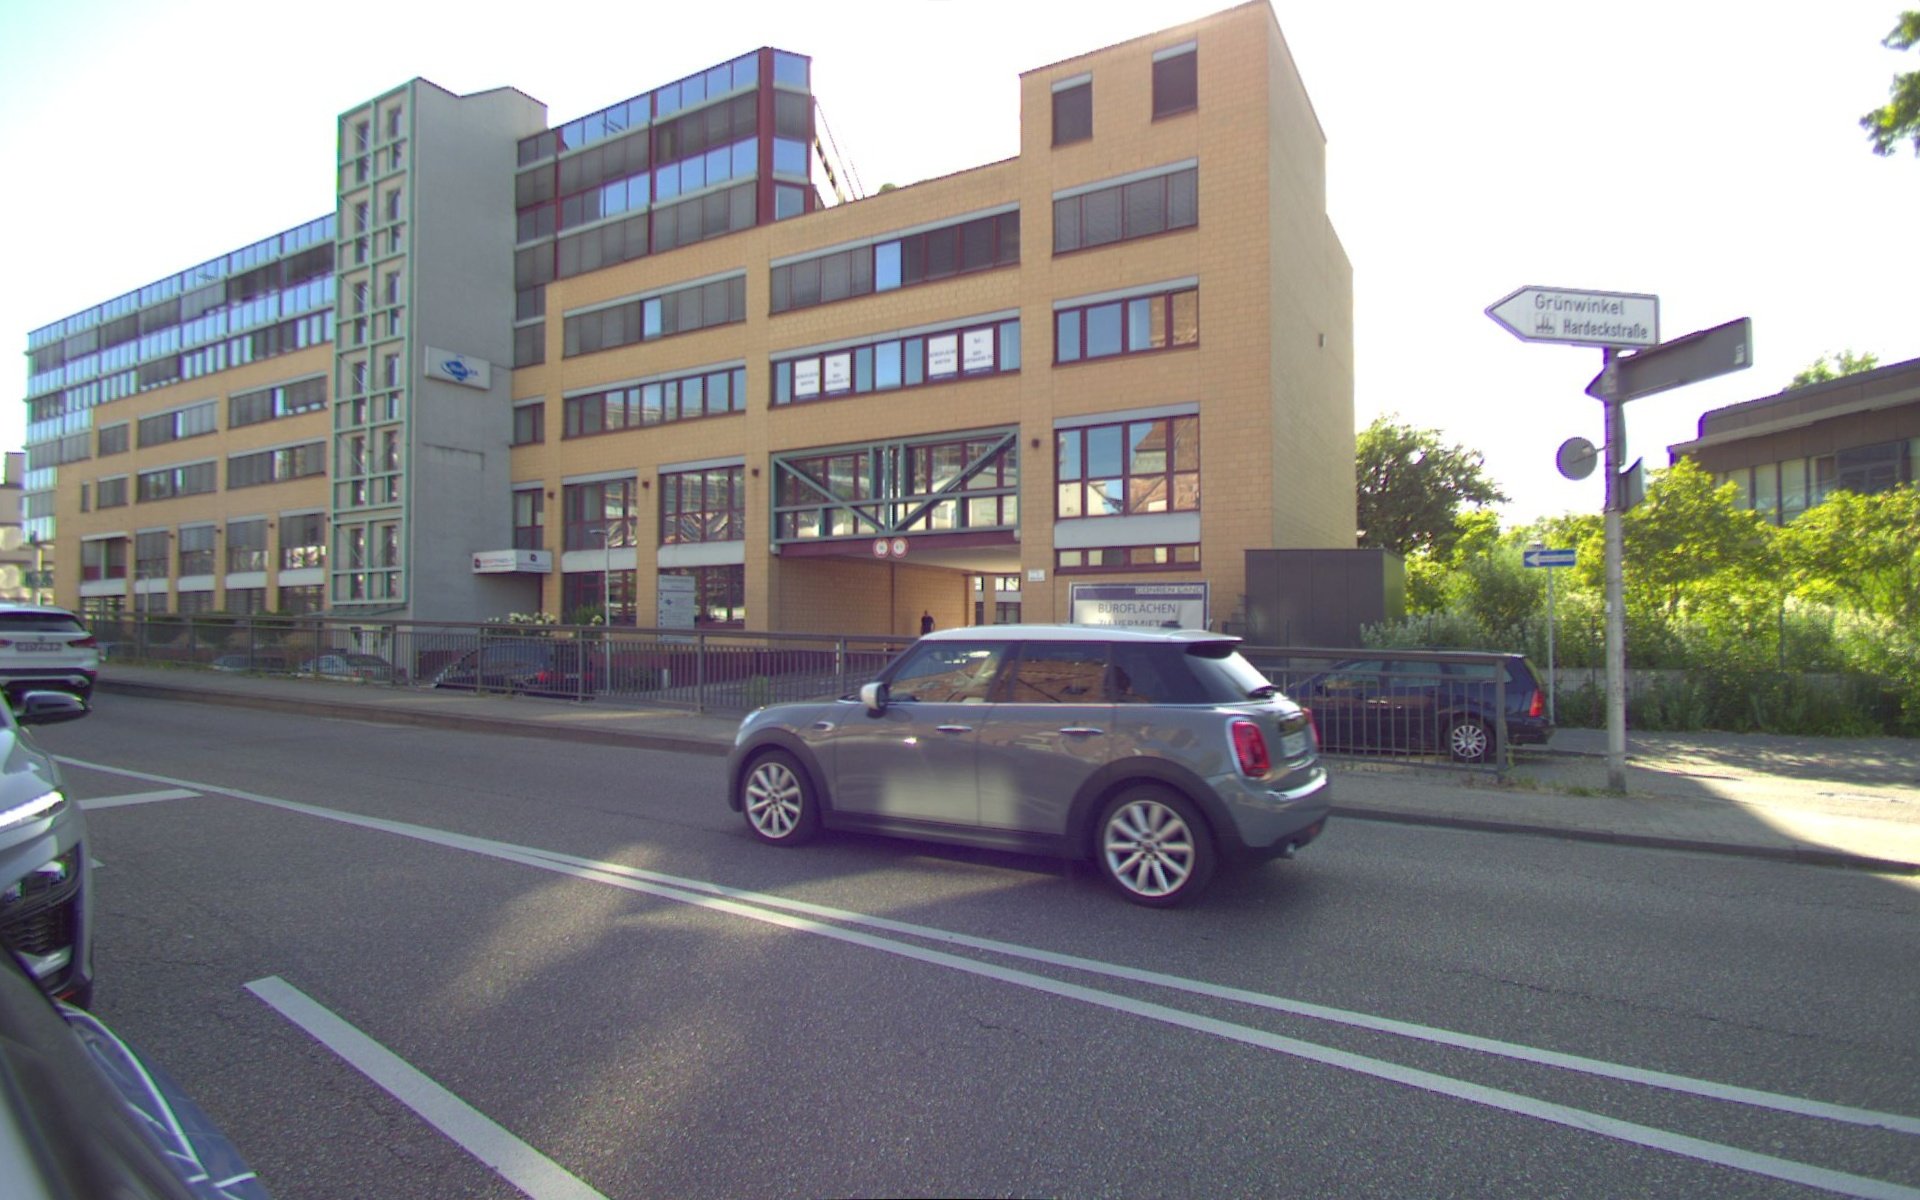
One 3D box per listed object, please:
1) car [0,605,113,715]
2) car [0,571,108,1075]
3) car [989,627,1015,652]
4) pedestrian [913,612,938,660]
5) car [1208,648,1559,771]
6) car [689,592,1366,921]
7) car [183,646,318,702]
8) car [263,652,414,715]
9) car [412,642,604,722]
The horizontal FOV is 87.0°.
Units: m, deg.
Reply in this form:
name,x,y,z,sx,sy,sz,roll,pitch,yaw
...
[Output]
name,x,y,z,sx,sy,sz,roll,pitch,yaw
car,-16.200,0.937,16.823,4.611,1.666,1.820,-1,-2,31
car,-5.023,0.709,4.082,4.219,1.582,1.825,-1,-1,42
car,2.747,2.604,66.725,1.621,1.586,3.150,-1,-2,2
pedestrian,-1.355,1.429,40.049,0.676,1.858,0.779,-2,-3,28
car,6.055,1.469,14.688,4.438,1.515,1.805,-2,-3,33
car,0.305,0.816,6.336,3.902,1.468,1.672,-2,-5,33
car,-22.234,2.261,31.681,4.340,1.616,1.807,-1,-3,30
car,-17.743,2.315,28.858,4.340,1.616,1.807,-1,-3,30
car,-11.156,1.932,24.937,4.667,1.771,1.938,-1,-1,29
